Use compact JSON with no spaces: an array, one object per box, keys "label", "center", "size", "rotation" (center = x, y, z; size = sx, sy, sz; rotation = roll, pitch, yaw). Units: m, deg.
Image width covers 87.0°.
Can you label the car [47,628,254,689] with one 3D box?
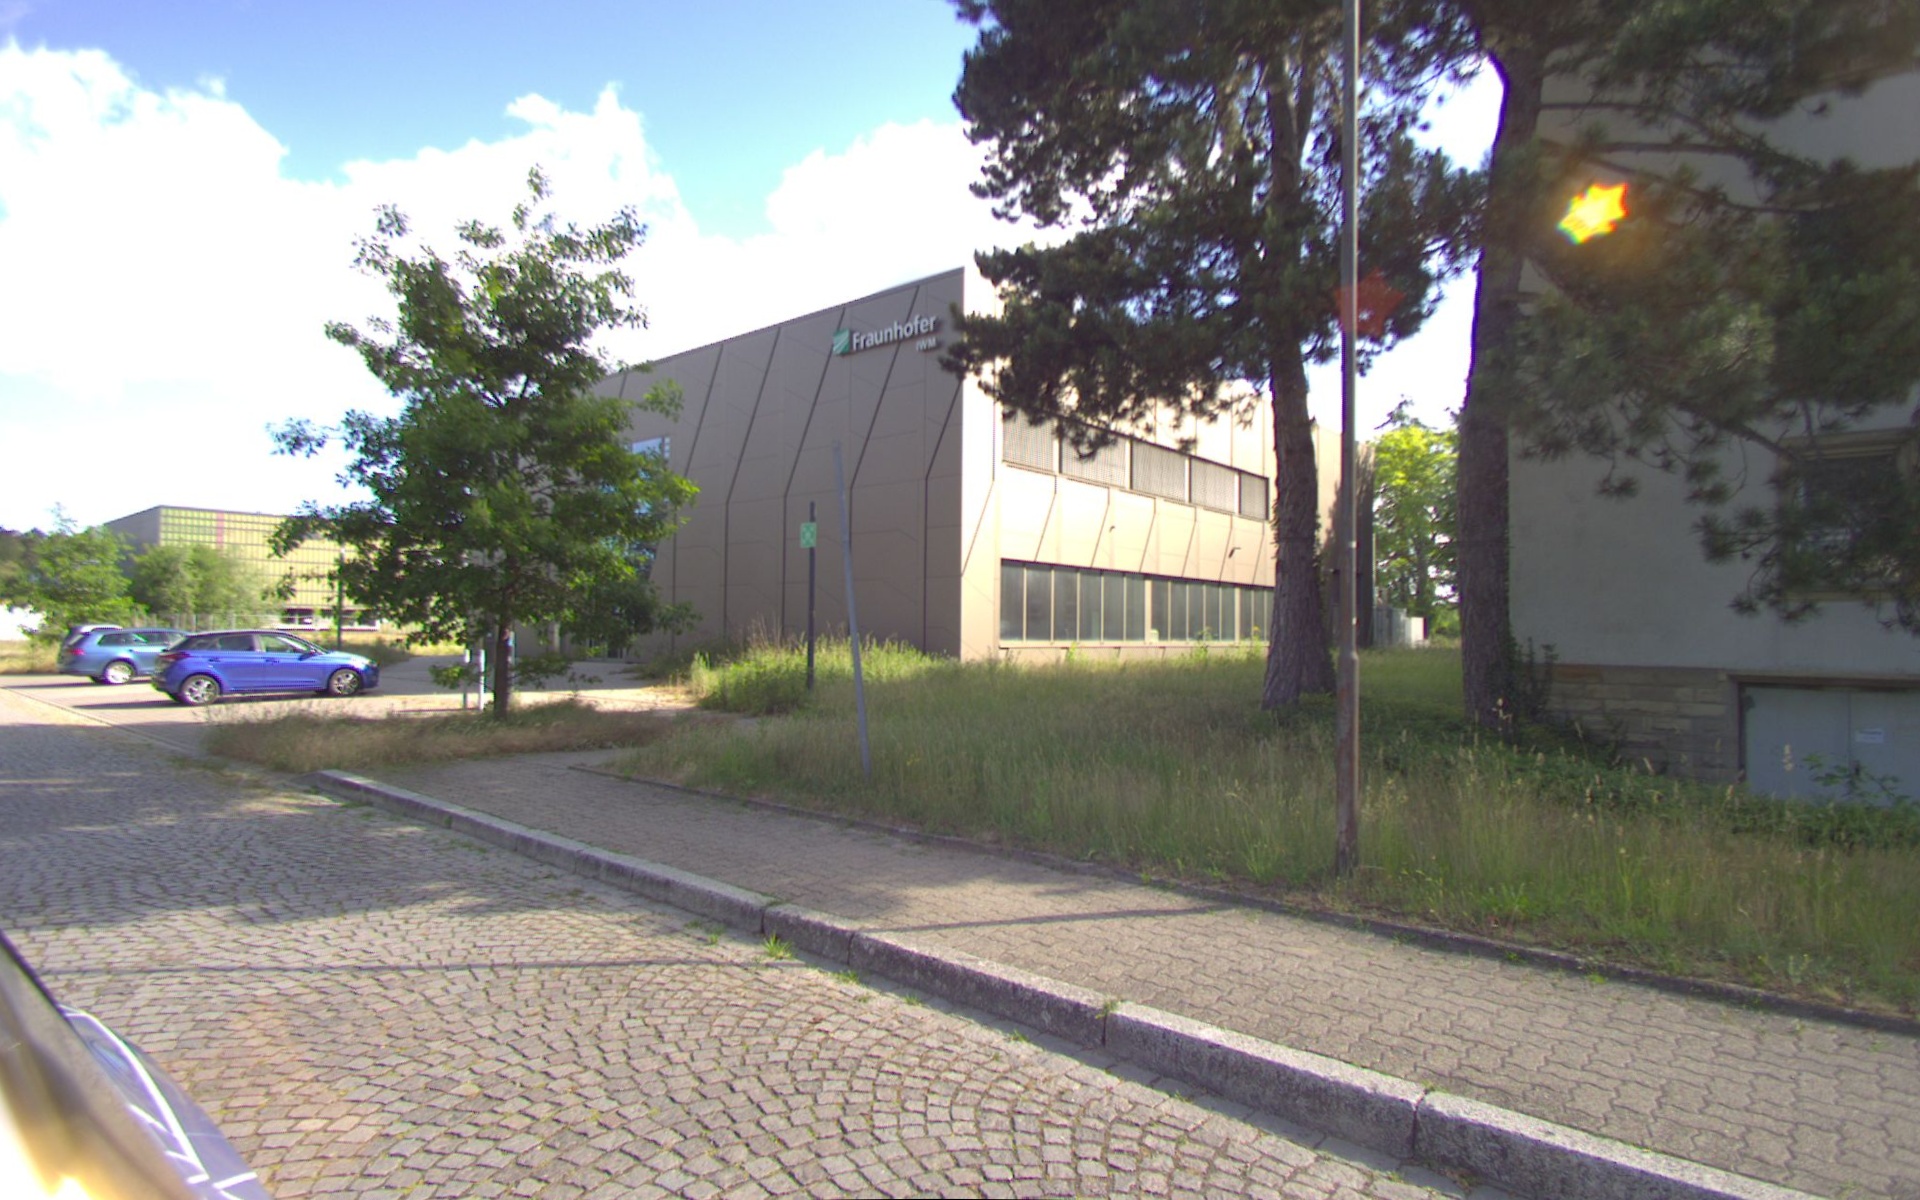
[{"label":"car","center":[-21.926,1.538,27.557],"size":[1.732,1.485,4.128],"rotation":[-1,-2,38]}]

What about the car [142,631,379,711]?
[{"label":"car","center":[-14.722,1.430,21.441],"size":[1.735,1.479,3.866],"rotation":[-2,-2,43]}]

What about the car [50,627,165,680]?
[{"label":"car","center":[-27.382,1.682,32.539],"size":[1.480,1.580,2.619],"rotation":[-1,-2,39]}]
